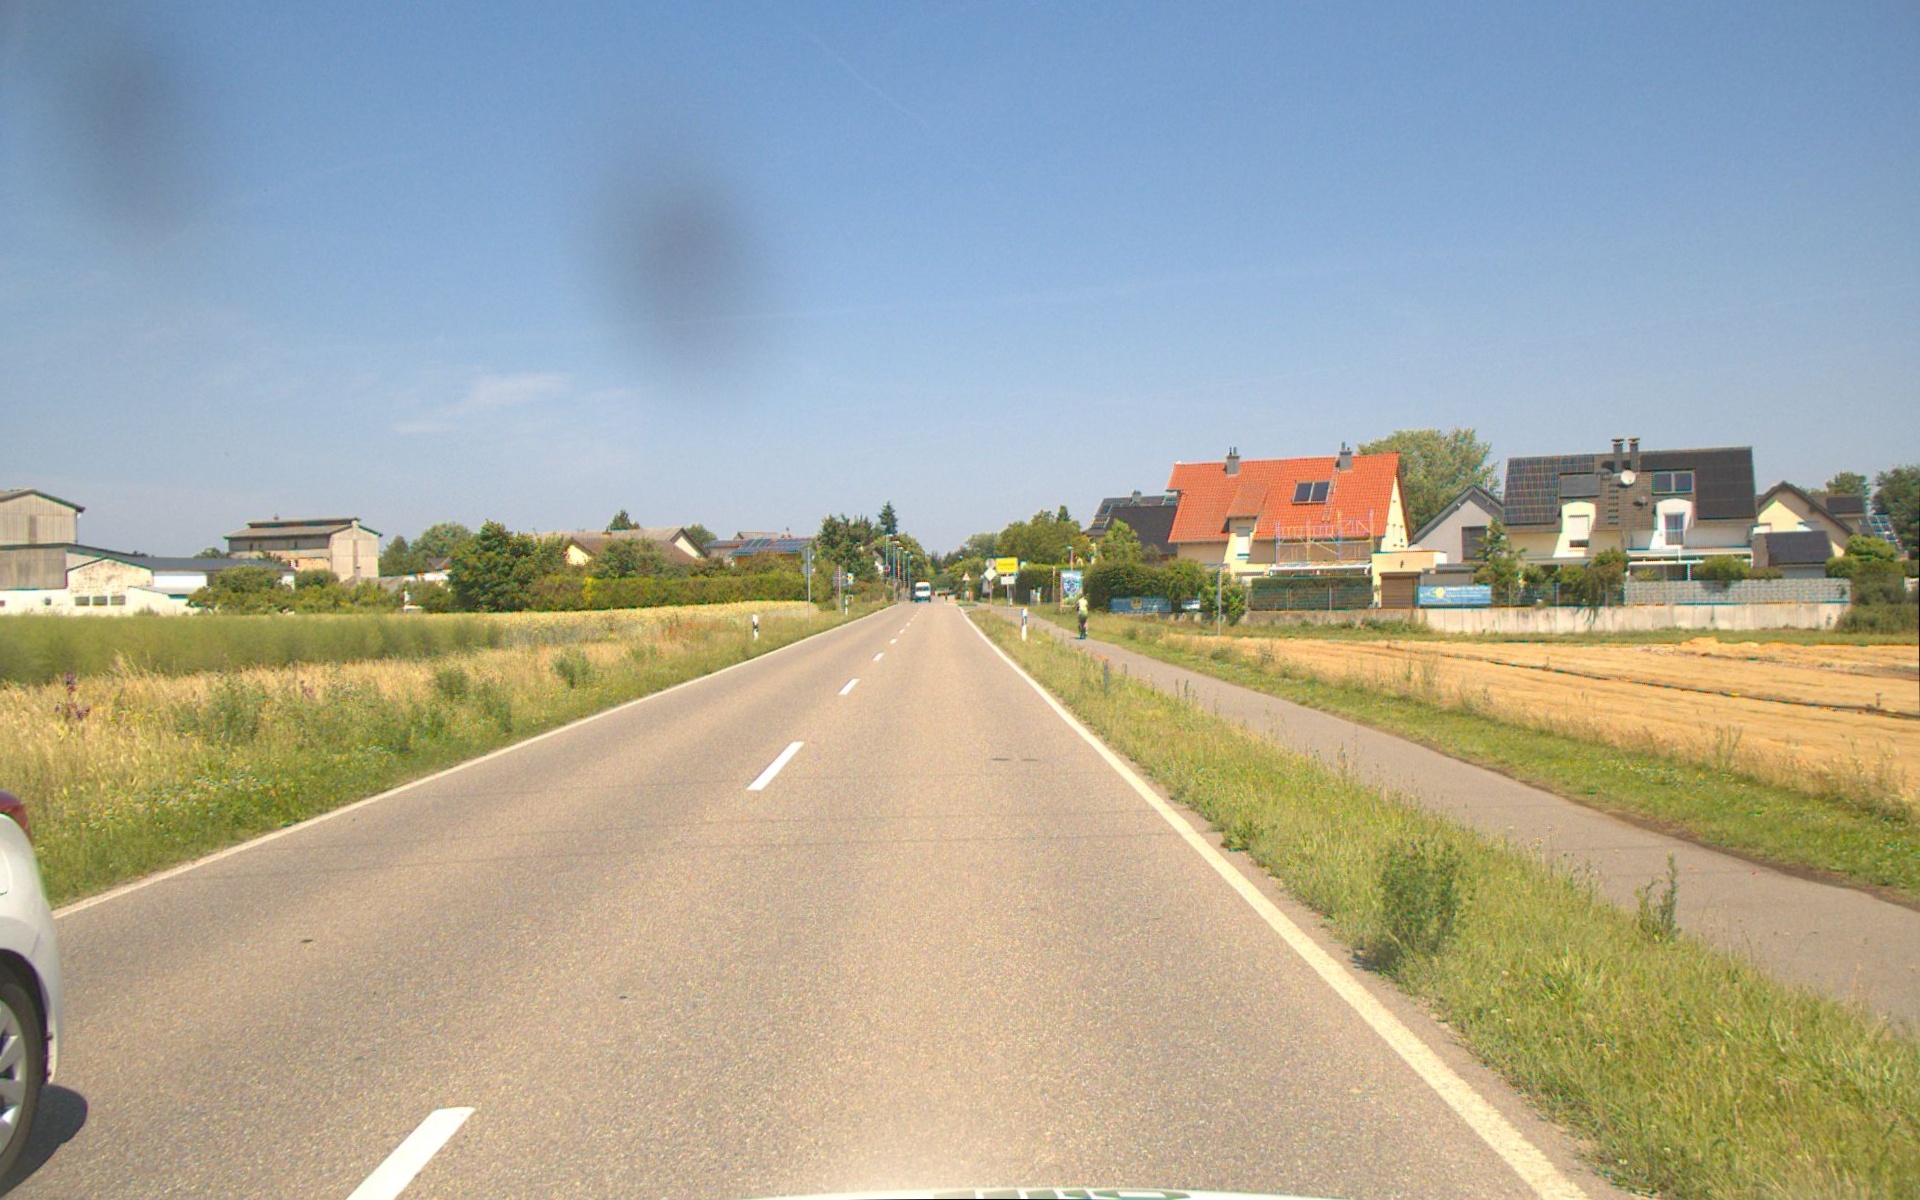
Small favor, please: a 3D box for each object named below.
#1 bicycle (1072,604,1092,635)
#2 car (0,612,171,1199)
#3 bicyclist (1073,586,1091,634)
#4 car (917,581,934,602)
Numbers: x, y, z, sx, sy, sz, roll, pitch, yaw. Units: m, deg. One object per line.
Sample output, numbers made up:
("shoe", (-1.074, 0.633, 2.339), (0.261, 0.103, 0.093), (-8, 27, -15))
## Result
("bicycle", (4.942, 0.774, 66.931), (0.598, 1.179, 2.274), (0, 1, -1))
("car", (-3.209, 0.793, 2.789), (1.755, 1.434, 4.185), (-2, 0, -1))
("bicyclist", (4.943, 0.404, 66.883), (0.632, 1.922, 0.861), (0, 1, -2))
("car", (-4.453, -1.176, 213.726), (2.035, 2.586, 5.872), (-2, 1, -1))
